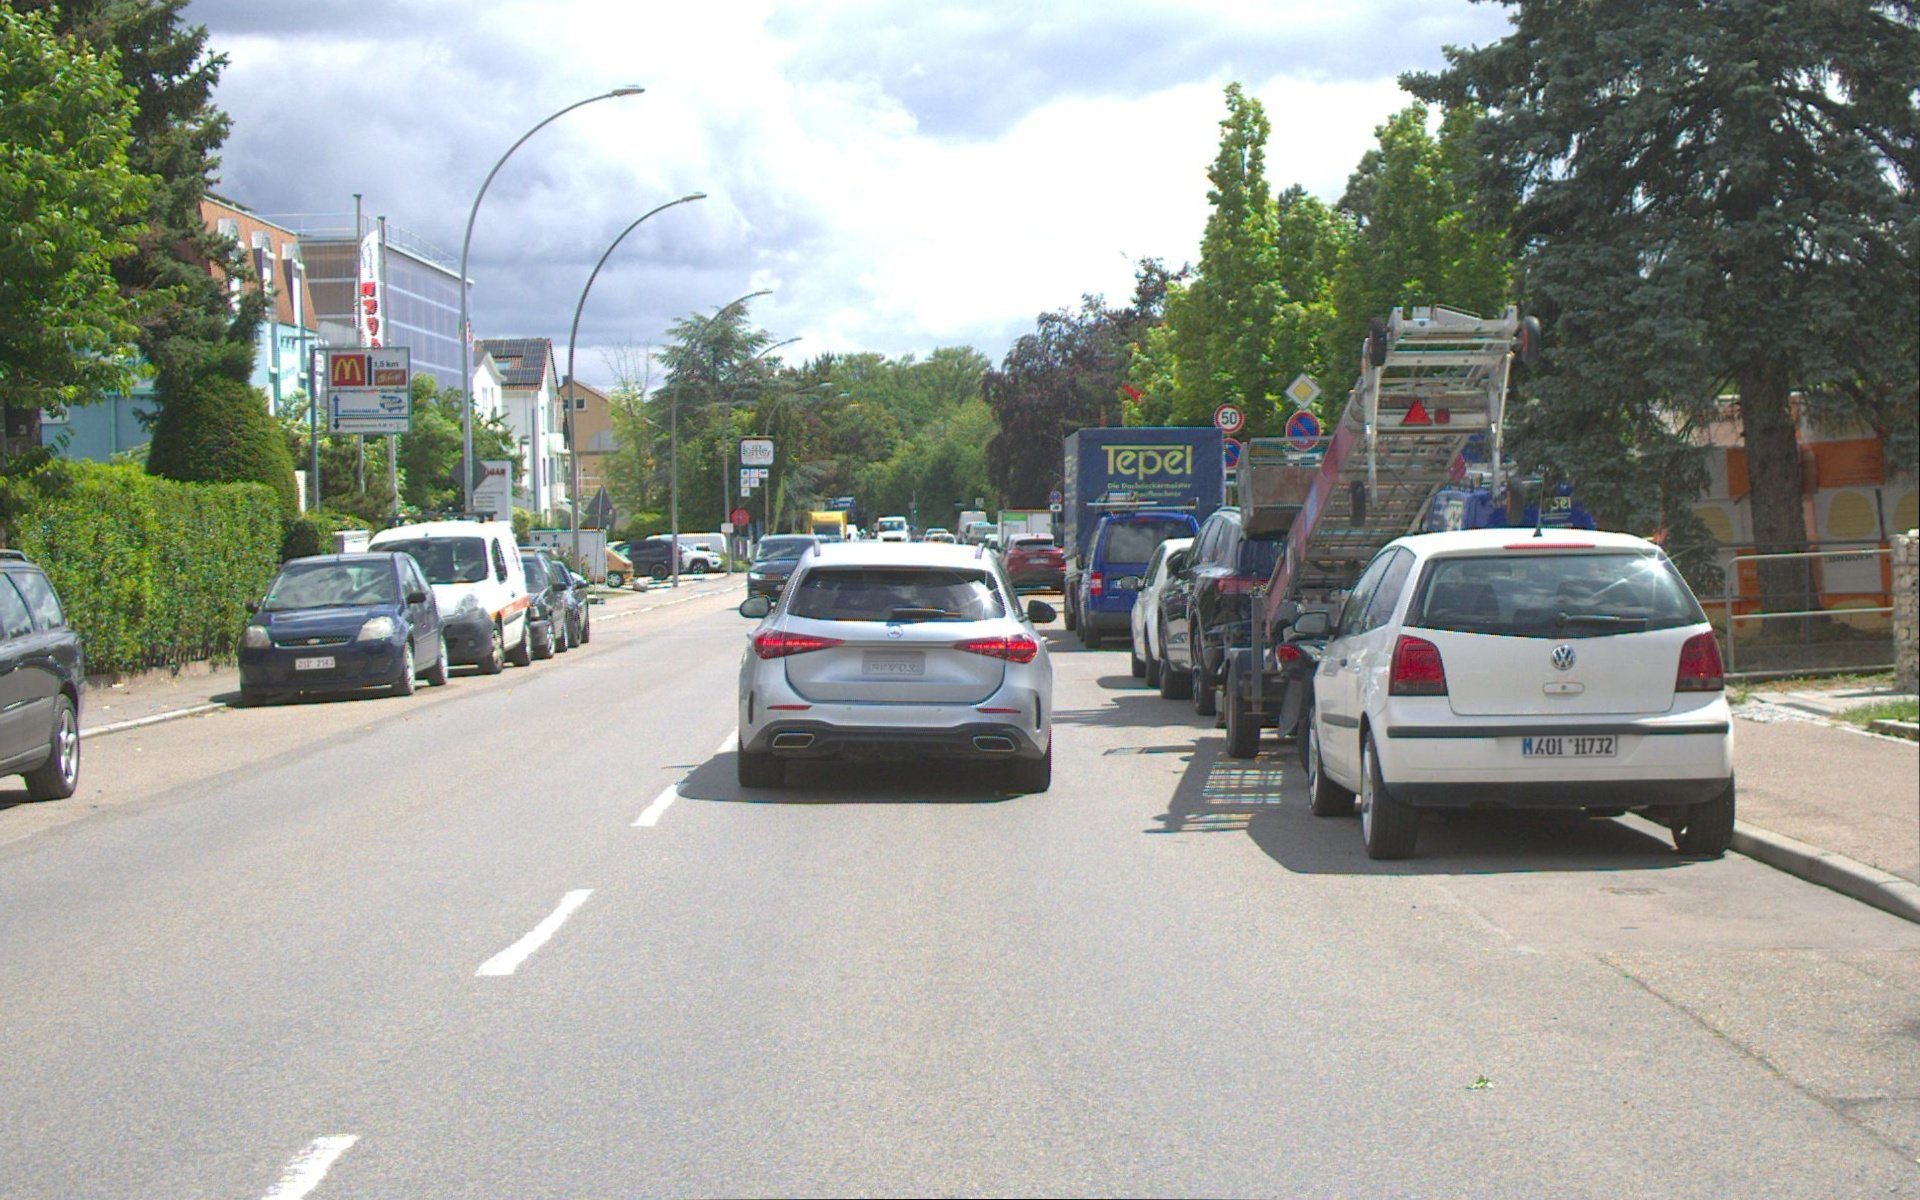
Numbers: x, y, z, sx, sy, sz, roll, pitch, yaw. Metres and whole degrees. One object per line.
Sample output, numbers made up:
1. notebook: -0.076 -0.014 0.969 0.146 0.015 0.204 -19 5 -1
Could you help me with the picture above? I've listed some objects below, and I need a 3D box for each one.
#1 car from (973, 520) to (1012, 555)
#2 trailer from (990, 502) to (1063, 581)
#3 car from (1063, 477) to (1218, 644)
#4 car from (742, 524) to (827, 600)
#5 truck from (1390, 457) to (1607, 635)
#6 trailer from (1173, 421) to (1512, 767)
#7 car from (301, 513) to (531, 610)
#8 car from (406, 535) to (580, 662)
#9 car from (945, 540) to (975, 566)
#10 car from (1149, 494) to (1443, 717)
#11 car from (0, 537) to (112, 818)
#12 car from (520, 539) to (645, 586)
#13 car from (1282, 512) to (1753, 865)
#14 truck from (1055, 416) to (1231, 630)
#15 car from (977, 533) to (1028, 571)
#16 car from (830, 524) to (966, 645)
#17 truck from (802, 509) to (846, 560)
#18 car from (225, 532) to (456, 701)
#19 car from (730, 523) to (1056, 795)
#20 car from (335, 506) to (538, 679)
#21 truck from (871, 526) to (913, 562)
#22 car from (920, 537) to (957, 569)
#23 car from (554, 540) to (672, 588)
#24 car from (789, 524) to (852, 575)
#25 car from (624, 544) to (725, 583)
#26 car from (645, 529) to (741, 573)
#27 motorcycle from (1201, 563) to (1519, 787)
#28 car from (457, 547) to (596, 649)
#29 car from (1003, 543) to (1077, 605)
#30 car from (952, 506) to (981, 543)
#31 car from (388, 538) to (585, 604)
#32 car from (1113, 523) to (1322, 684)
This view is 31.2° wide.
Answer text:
1. car: 1.866 -3.634 199.358 2.144 1.977 5.261 -1 1 0
2. trailer: 1.995 -1.781 104.545 1.941 2.286 4.446 -1 1 -2
3. car: 2.445 -0.578 47.450 1.873 2.161 4.464 1 1 0
4. car: -3.917 -0.882 77.461 1.743 1.622 4.356 0 2 -1
5. truck: 7.115 -0.790 45.954 1.829 2.074 5.386 -4 3 -1
6. trailer: 2.535 -0.094 23.683 1.772 2.137 4.114 -1 2 -1
7. car: -11.655 -0.841 73.924 4.650 1.965 2.116 -1 1 -3
8. car: -6.238 -0.069 46.335 1.743 1.467 4.645 -4 2 -2
9. car: -0.022 -3.058 224.546 1.784 1.709 4.317 0 1 -2
10. car: 2.803 -0.016 29.703 1.873 1.721 4.714 -2 2 -2
11. car: -6.087 0.449 19.028 1.719 1.488 4.736 -2 2 -2
12. car: -12.840 -1.277 117.112 4.149 1.486 1.826 1 1 -3
13. car: 2.586 0.334 16.795 1.719 1.427 3.983 -3 2 2
14. truck: 2.747 -1.198 53.025 2.320 3.086 6.043 1 1 0
15. car: 1.705 -1.988 140.419 1.791 1.445 4.364 -2 2 -3
16. car: -0.845 -0.250 46.998 1.755 1.553 4.000 -1 1 -1
17. truck: -7.799 -3.793 197.760 2.075 2.804 7.078 -2 2 1
18. car: -6.259 0.119 35.093 1.639 1.482 4.001 -4 2 -2
19. car: -0.445 0.276 21.018 1.784 1.479 4.317 0 1 -2
20. car: -6.171 -0.145 40.966 1.743 1.832 4.356 -4 2 -2
21. truck: -4.374 -3.595 221.209 2.319 2.171 6.449 -2 1 2
22. car: -1.074 -2.330 169.638 1.755 1.553 4.000 -1 1 -1
23. car: -14.257 -1.485 141.377 4.626 1.627 2.198 -4 2 -3
24. car: -4.745 -1.733 117.248 1.993 1.610 4.411 -2 2 -1
25. car: -12.738 -1.618 153.565 4.279 1.561 1.991 -1 -2 0
26. car: -12.299 -2.268 158.672 4.279 1.830 1.991 -1 -2 -1
27. motorcycle: 2.355 0.416 20.142 1.817 1.205 0.717 -2 2 -35
28. car: -6.408 -0.054 51.167 1.630 1.299 4.117 -4 2 -2
29. car: 2.193 -0.734 93.428 1.941 1.566 4.446 -1 1 2
30. car: 0.454 -5.189 236.512 1.784 2.510 4.317 0 1 -2
31. car: -11.213 -0.677 81.579 4.374 1.473 1.871 -1 0 0
32. car: 2.594 -0.010 35.456 1.773 1.503 4.000 -2 2 -1
